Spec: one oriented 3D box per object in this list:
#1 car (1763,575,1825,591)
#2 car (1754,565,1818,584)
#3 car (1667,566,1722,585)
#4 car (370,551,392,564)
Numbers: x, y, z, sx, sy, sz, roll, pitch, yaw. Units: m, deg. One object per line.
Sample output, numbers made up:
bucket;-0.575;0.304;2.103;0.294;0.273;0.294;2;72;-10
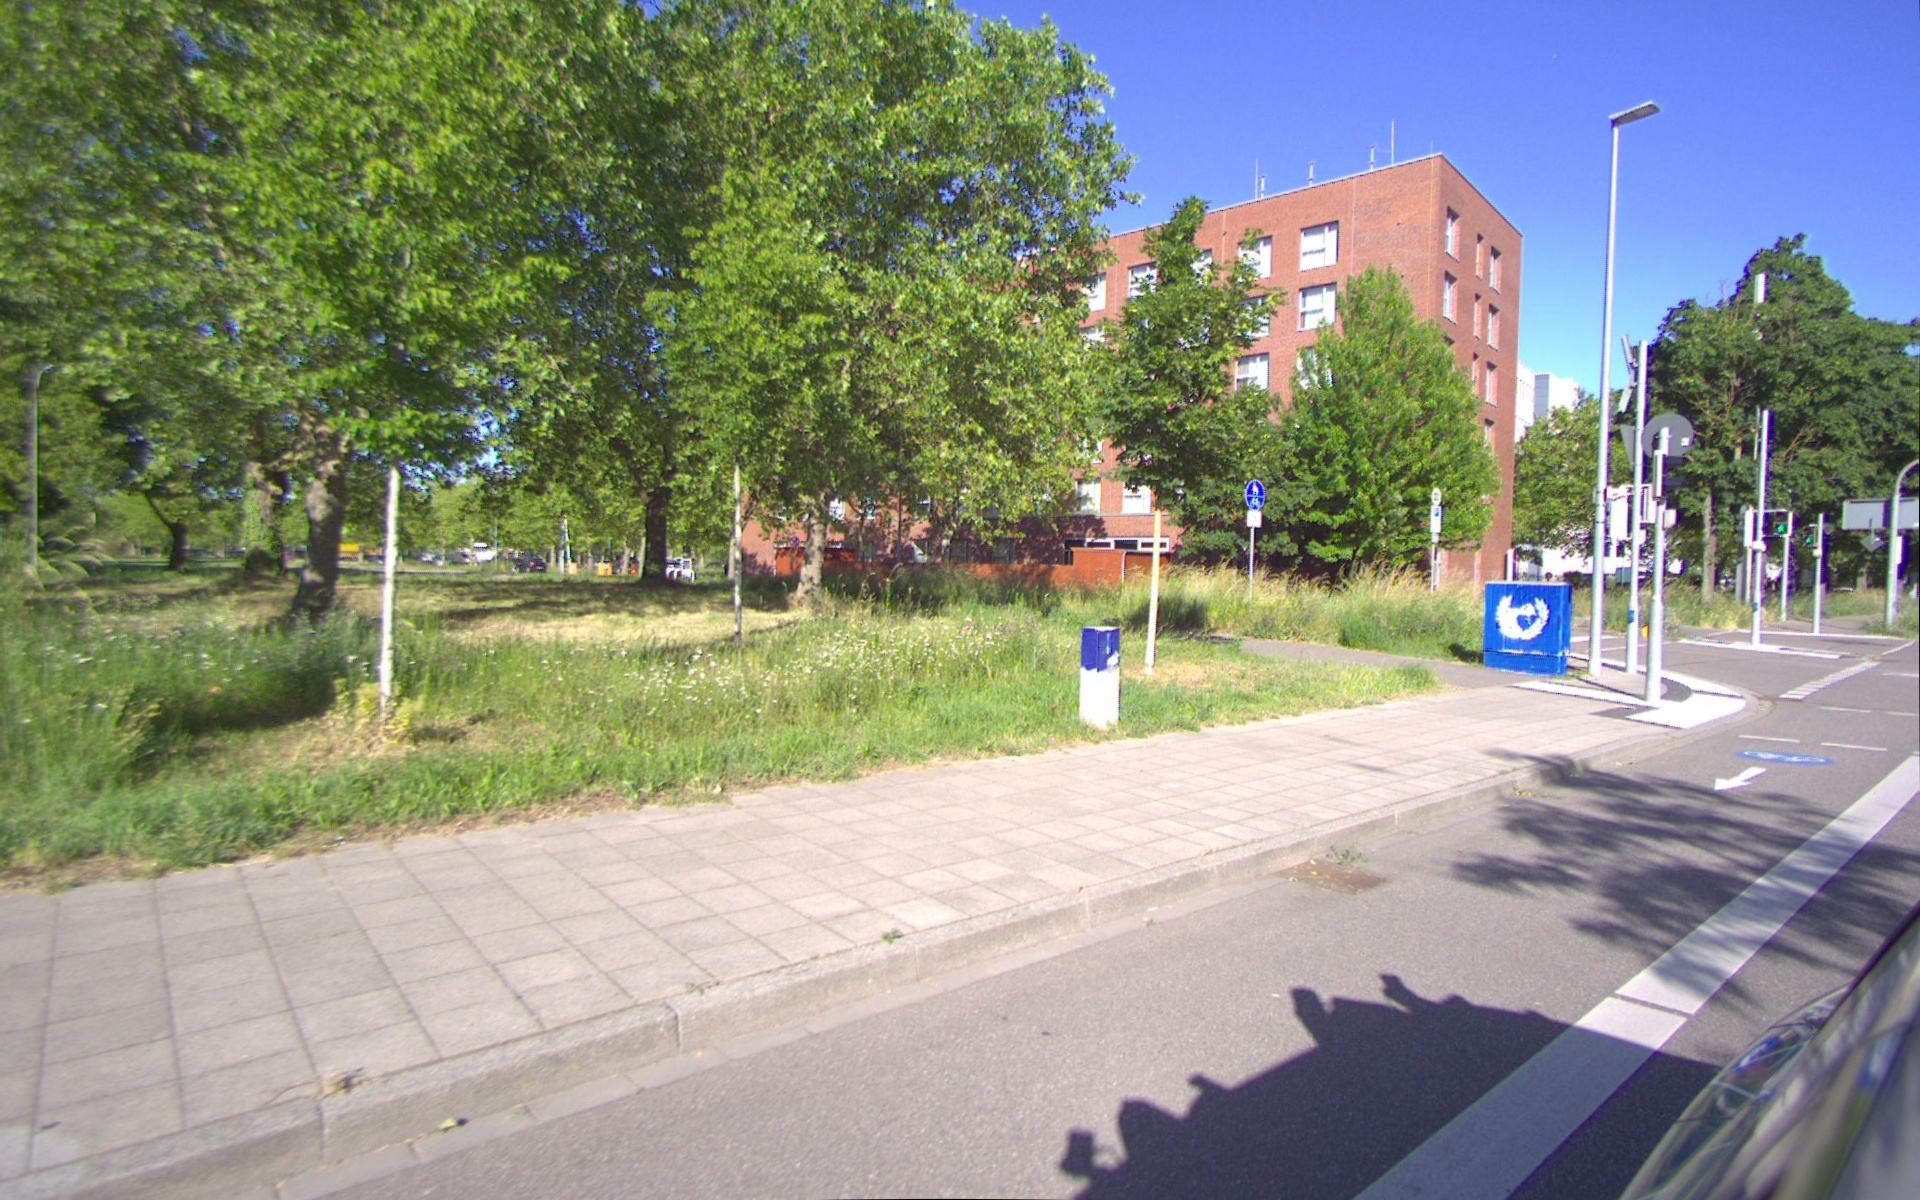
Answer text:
car;78.552;-1.593;95.363;1.789;1.449;4.181;-1;2;-33
car;72.577;-2.246;88.935;1.706;1.523;4.043;0;3;-36
car;85.162;-2.833;117.448;1.938;1.974;4.764;0;3;-37
car;-70.827;-5.209;123.810;1.927;1.550;4.001;0;3;-35
